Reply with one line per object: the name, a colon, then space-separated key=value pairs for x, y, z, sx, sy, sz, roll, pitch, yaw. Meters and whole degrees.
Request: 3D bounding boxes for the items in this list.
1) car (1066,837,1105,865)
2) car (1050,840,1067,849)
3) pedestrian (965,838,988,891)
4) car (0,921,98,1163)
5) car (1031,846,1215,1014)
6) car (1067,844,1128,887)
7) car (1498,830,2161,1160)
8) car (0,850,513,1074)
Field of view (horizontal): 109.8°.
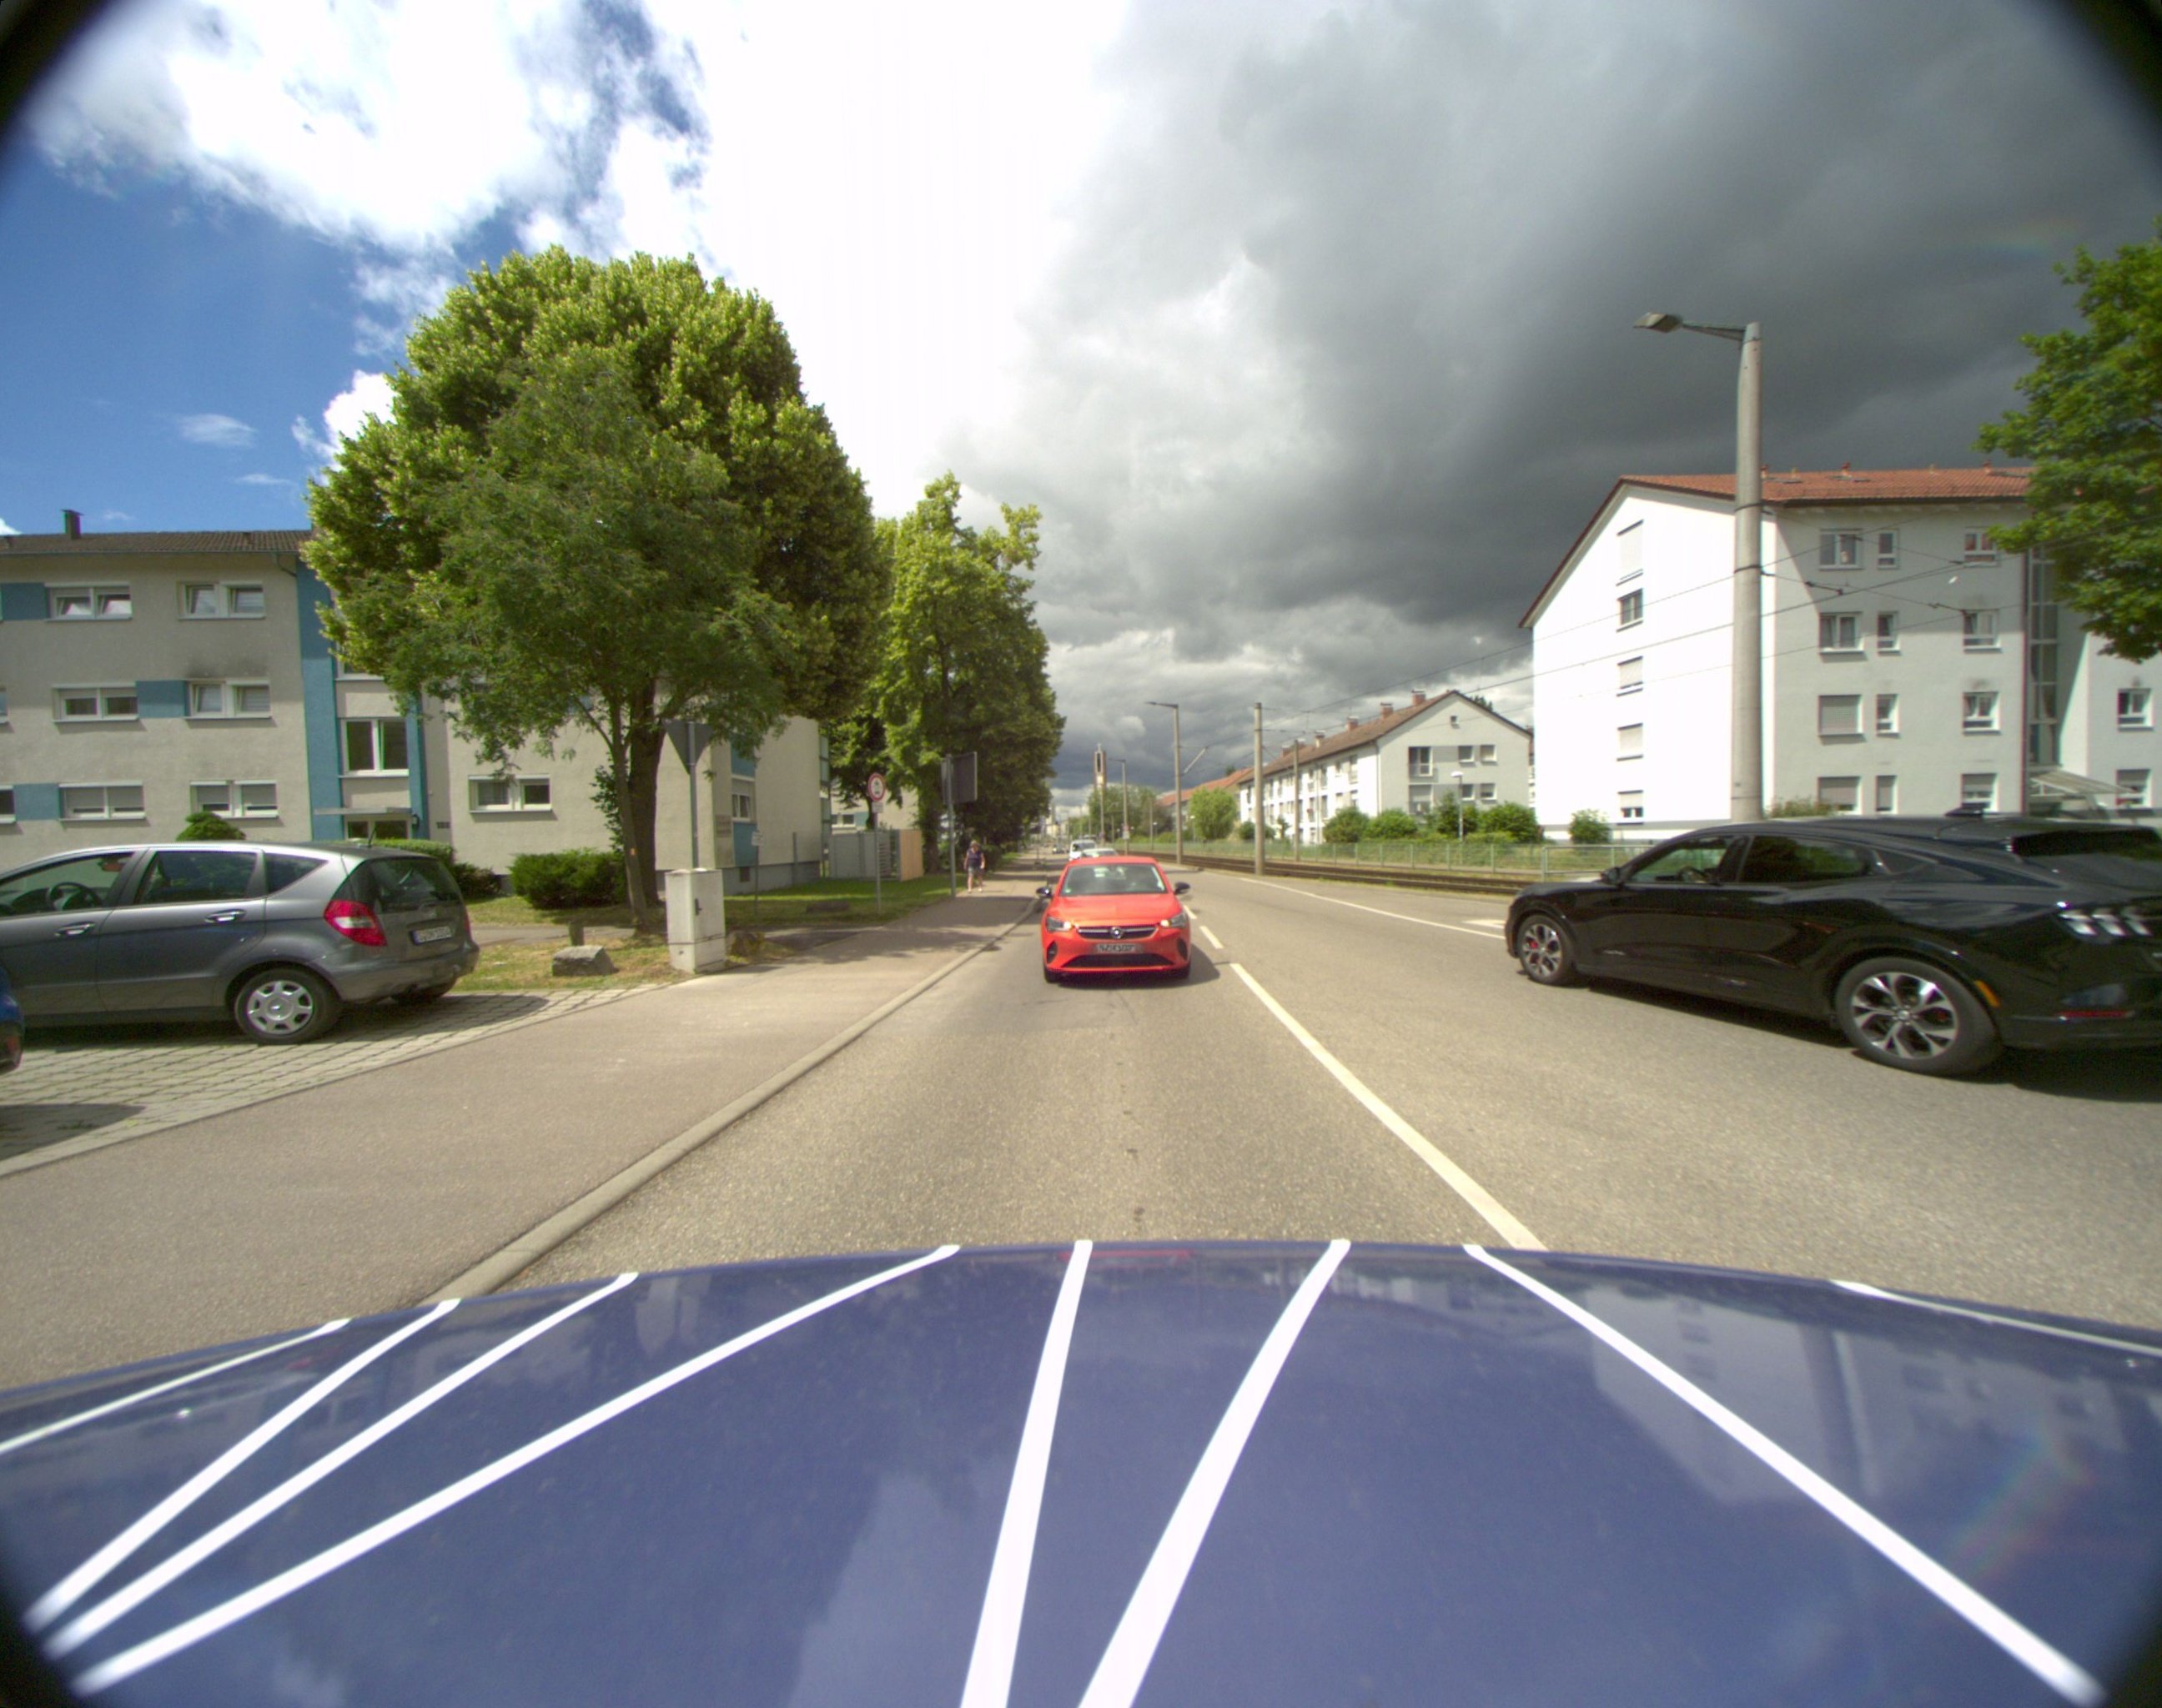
car: x=0.214 y=-0.190 z=45.944 sx=1.999 sy=1.598 sz=3.997 roll=-1 pitch=1 yaw=-4
car: x=-3.332 y=-1.396 z=113.483 sx=1.917 sy=1.309 sz=4.001 roll=0 pitch=1 yaw=5
pedestrian: x=-3.353 y=0.321 z=24.330 sx=0.684 sy=1.651 sz=0.831 roll=-1 pitch=2 yaw=-8
car: x=-7.846 y=0.980 z=3.080 sx=4.499 sy=1.236 sz=1.998 roll=1 pitch=1 yaw=-12
car: x=0.423 y=0.741 z=9.576 sx=1.766 sy=1.549 sz=3.999 roll=-3 pitch=1 yaw=0
car: x=0.516 y=0.359 z=27.391 sx=1.764 sy=1.390 sz=3.997 roll=-1 pitch=1 yaw=-5
car: x=5.716 y=0.612 z=5.919 sx=2.000 sy=1.517 sz=4.520 roll=-2 pitch=1 yaw=-8
car: x=-7.483 y=0.783 z=6.439 sx=3.741 sy=1.548 sz=2.030 roll=1 pitch=1 yaw=-10
